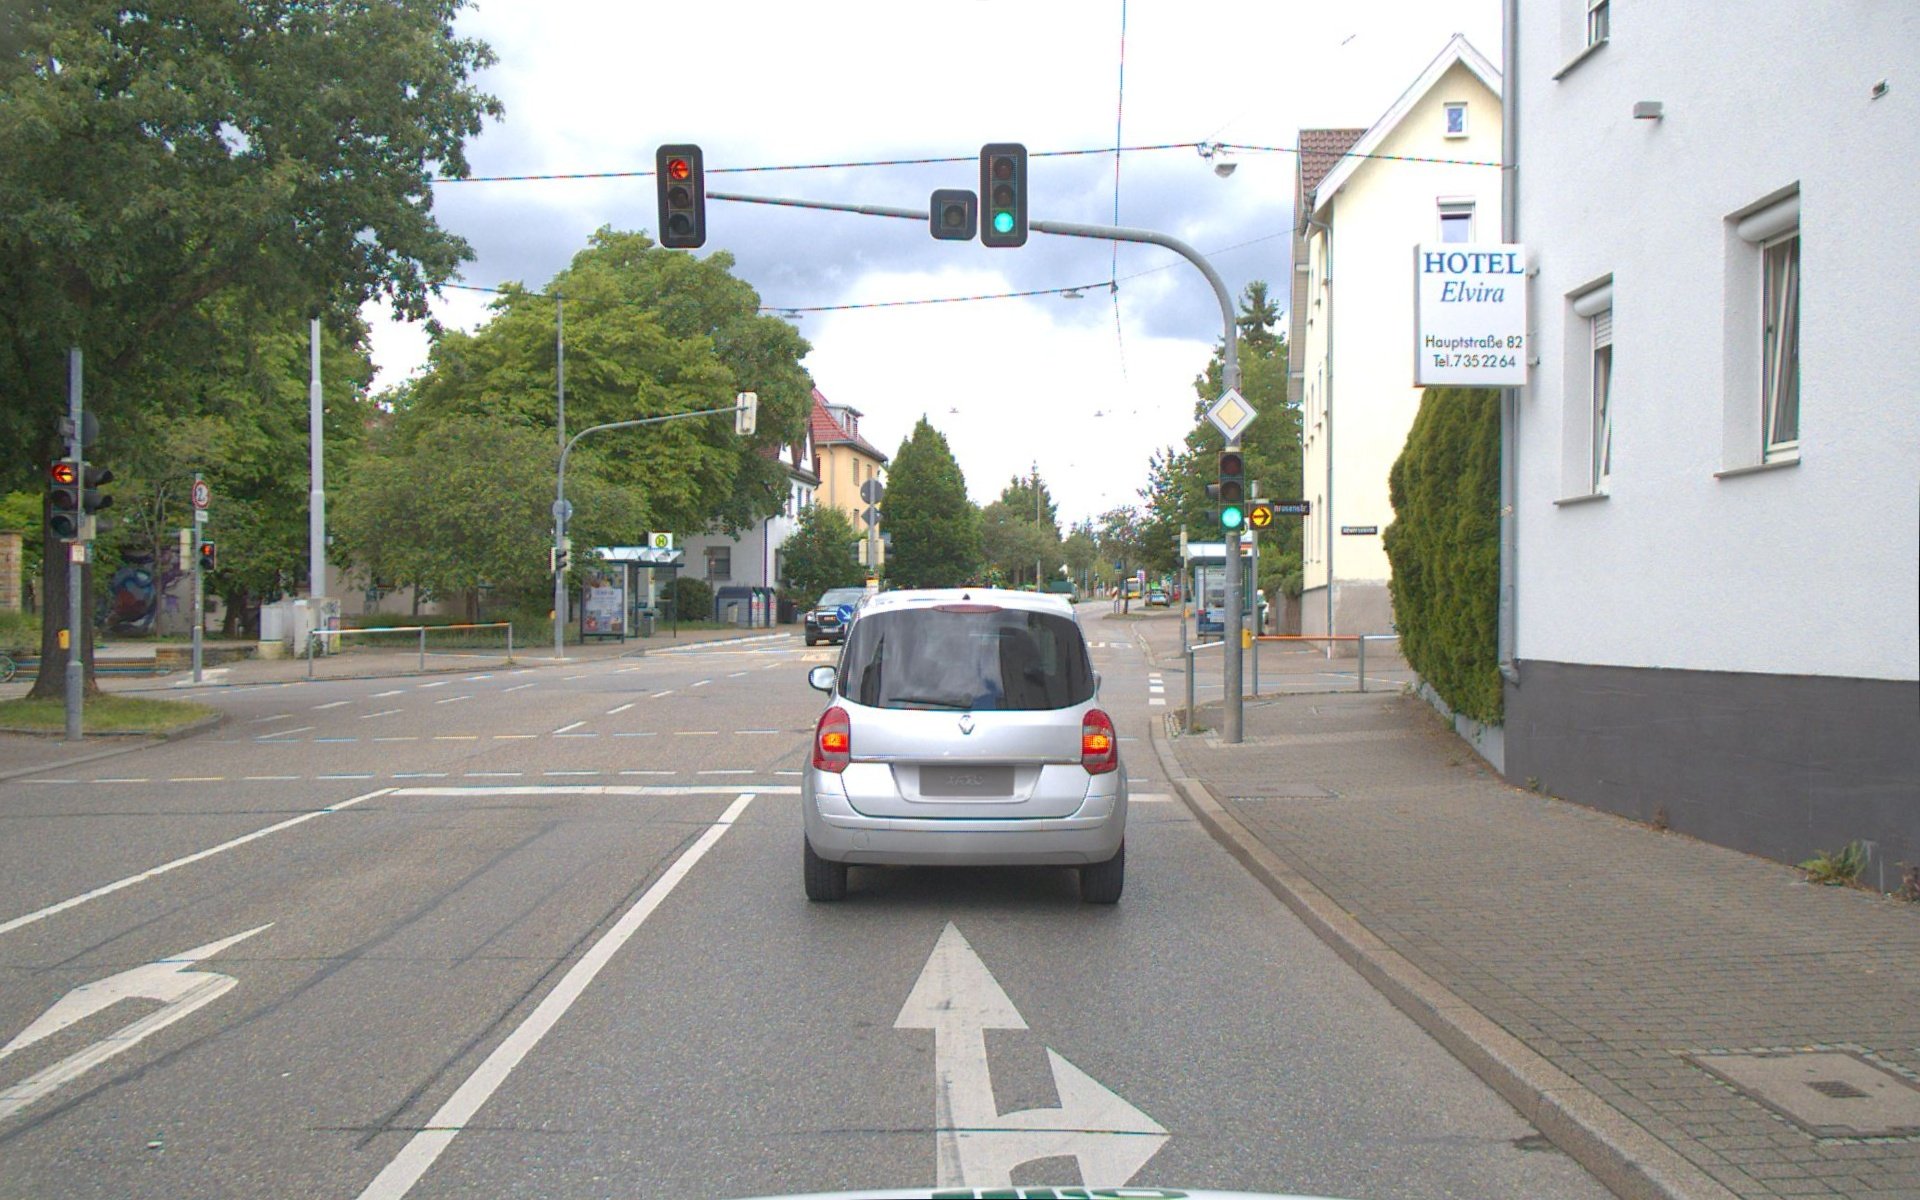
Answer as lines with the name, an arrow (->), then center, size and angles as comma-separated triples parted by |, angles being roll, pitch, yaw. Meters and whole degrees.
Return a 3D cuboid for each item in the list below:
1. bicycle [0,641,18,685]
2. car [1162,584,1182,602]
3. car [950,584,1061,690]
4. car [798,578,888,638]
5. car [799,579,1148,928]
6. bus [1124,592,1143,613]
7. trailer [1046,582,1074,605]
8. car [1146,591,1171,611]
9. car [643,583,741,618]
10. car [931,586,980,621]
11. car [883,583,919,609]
bicycle -> -21.535, 1.423, 36.383 | 1.290, 0.958, 0.424 | -3, 0, -9
car -> 18.424, -0.620, 143.816 | 1.627, 1.591, 4.102 | 0, 0, 7
car -> 0.818, 0.596, 28.660 | 1.791, 1.705, 3.575 | -1, 0, 3
car -> -3.497, 0.264, 50.194 | 1.720, 1.663, 4.598 | -2, -1, 8
car -> 0.105, 0.728, 9.687 | 1.596, 1.584, 4.000 | 1, 0, 1
bus -> 27.559, 0.298, 263.004 | 2.576, 3.140, 12.079 | -2, 0, 8
trailer -> 9.804, -0.584, 161.357 | 2.263, 2.123, 5.877 | 1, 0, 8
car -> 14.531, 0.067, 120.750 | 1.615, 1.406, 4.003 | 0, -1, 10
car -> -11.840, 0.017, 73.235 | 3.902, 1.355, 1.723 | -3, -1, 7
car -> -0.174, 0.168, 71.414 | 1.530, 1.445, 4.133 | -1, -1, 8
car -> -3.977, -0.293, 111.625 | 1.768, 1.591, 4.621 | -3, 0, 5
